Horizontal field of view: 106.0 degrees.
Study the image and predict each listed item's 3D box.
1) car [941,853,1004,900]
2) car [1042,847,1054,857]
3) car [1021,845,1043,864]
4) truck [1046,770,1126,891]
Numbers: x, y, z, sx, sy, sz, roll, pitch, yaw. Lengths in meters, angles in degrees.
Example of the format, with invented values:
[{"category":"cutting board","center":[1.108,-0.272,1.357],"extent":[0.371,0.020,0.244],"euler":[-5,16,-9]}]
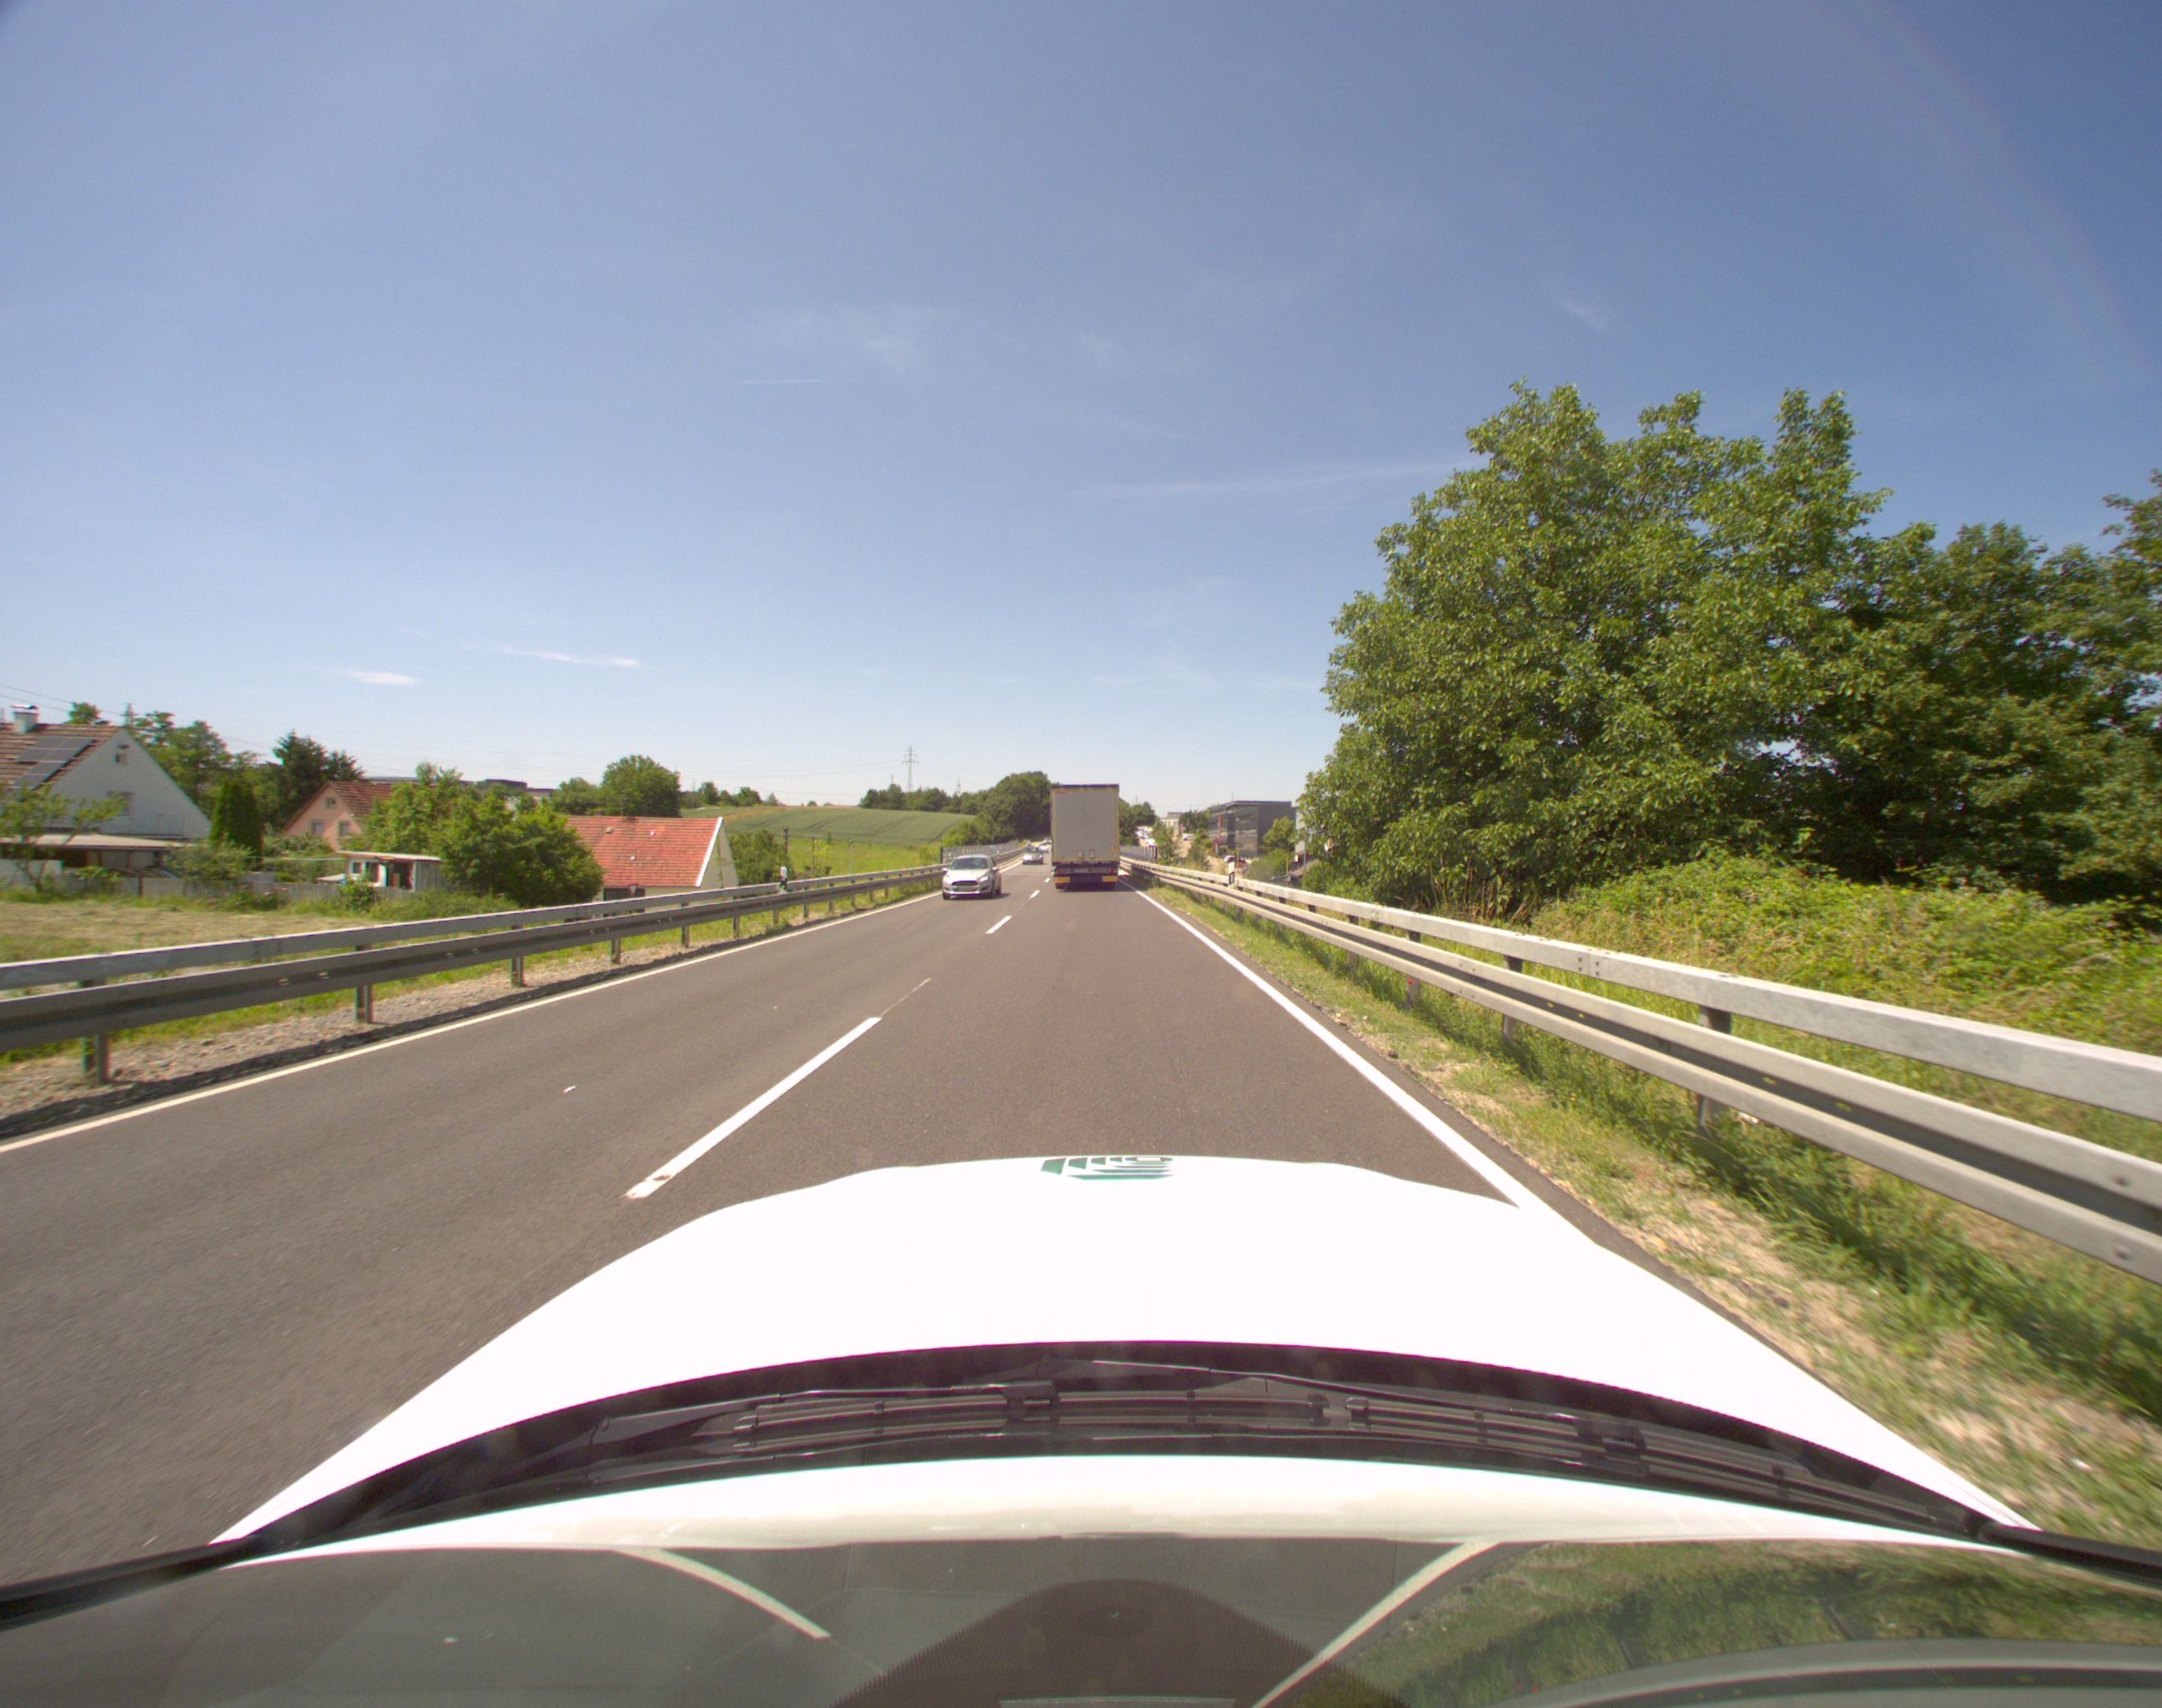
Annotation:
[{"category":"car","center":[-3.719,0.719,28.439],"extent":[1.641,1.440,4.157],"euler":[-2,0,-1]},{"category":"car","center":[-5.035,-0.353,123.584],"extent":[1.702,1.505,4.116],"euler":[-1,0,-1]},{"category":"car","center":[-4.396,0.052,73.752],"extent":[1.801,1.589,4.378],"euler":[-1,0,-1]},{"category":"truck","center":[0.091,-0.843,34.741],"extent":[2.858,4.359,9.783],"euler":[-1,0,-1]}]
